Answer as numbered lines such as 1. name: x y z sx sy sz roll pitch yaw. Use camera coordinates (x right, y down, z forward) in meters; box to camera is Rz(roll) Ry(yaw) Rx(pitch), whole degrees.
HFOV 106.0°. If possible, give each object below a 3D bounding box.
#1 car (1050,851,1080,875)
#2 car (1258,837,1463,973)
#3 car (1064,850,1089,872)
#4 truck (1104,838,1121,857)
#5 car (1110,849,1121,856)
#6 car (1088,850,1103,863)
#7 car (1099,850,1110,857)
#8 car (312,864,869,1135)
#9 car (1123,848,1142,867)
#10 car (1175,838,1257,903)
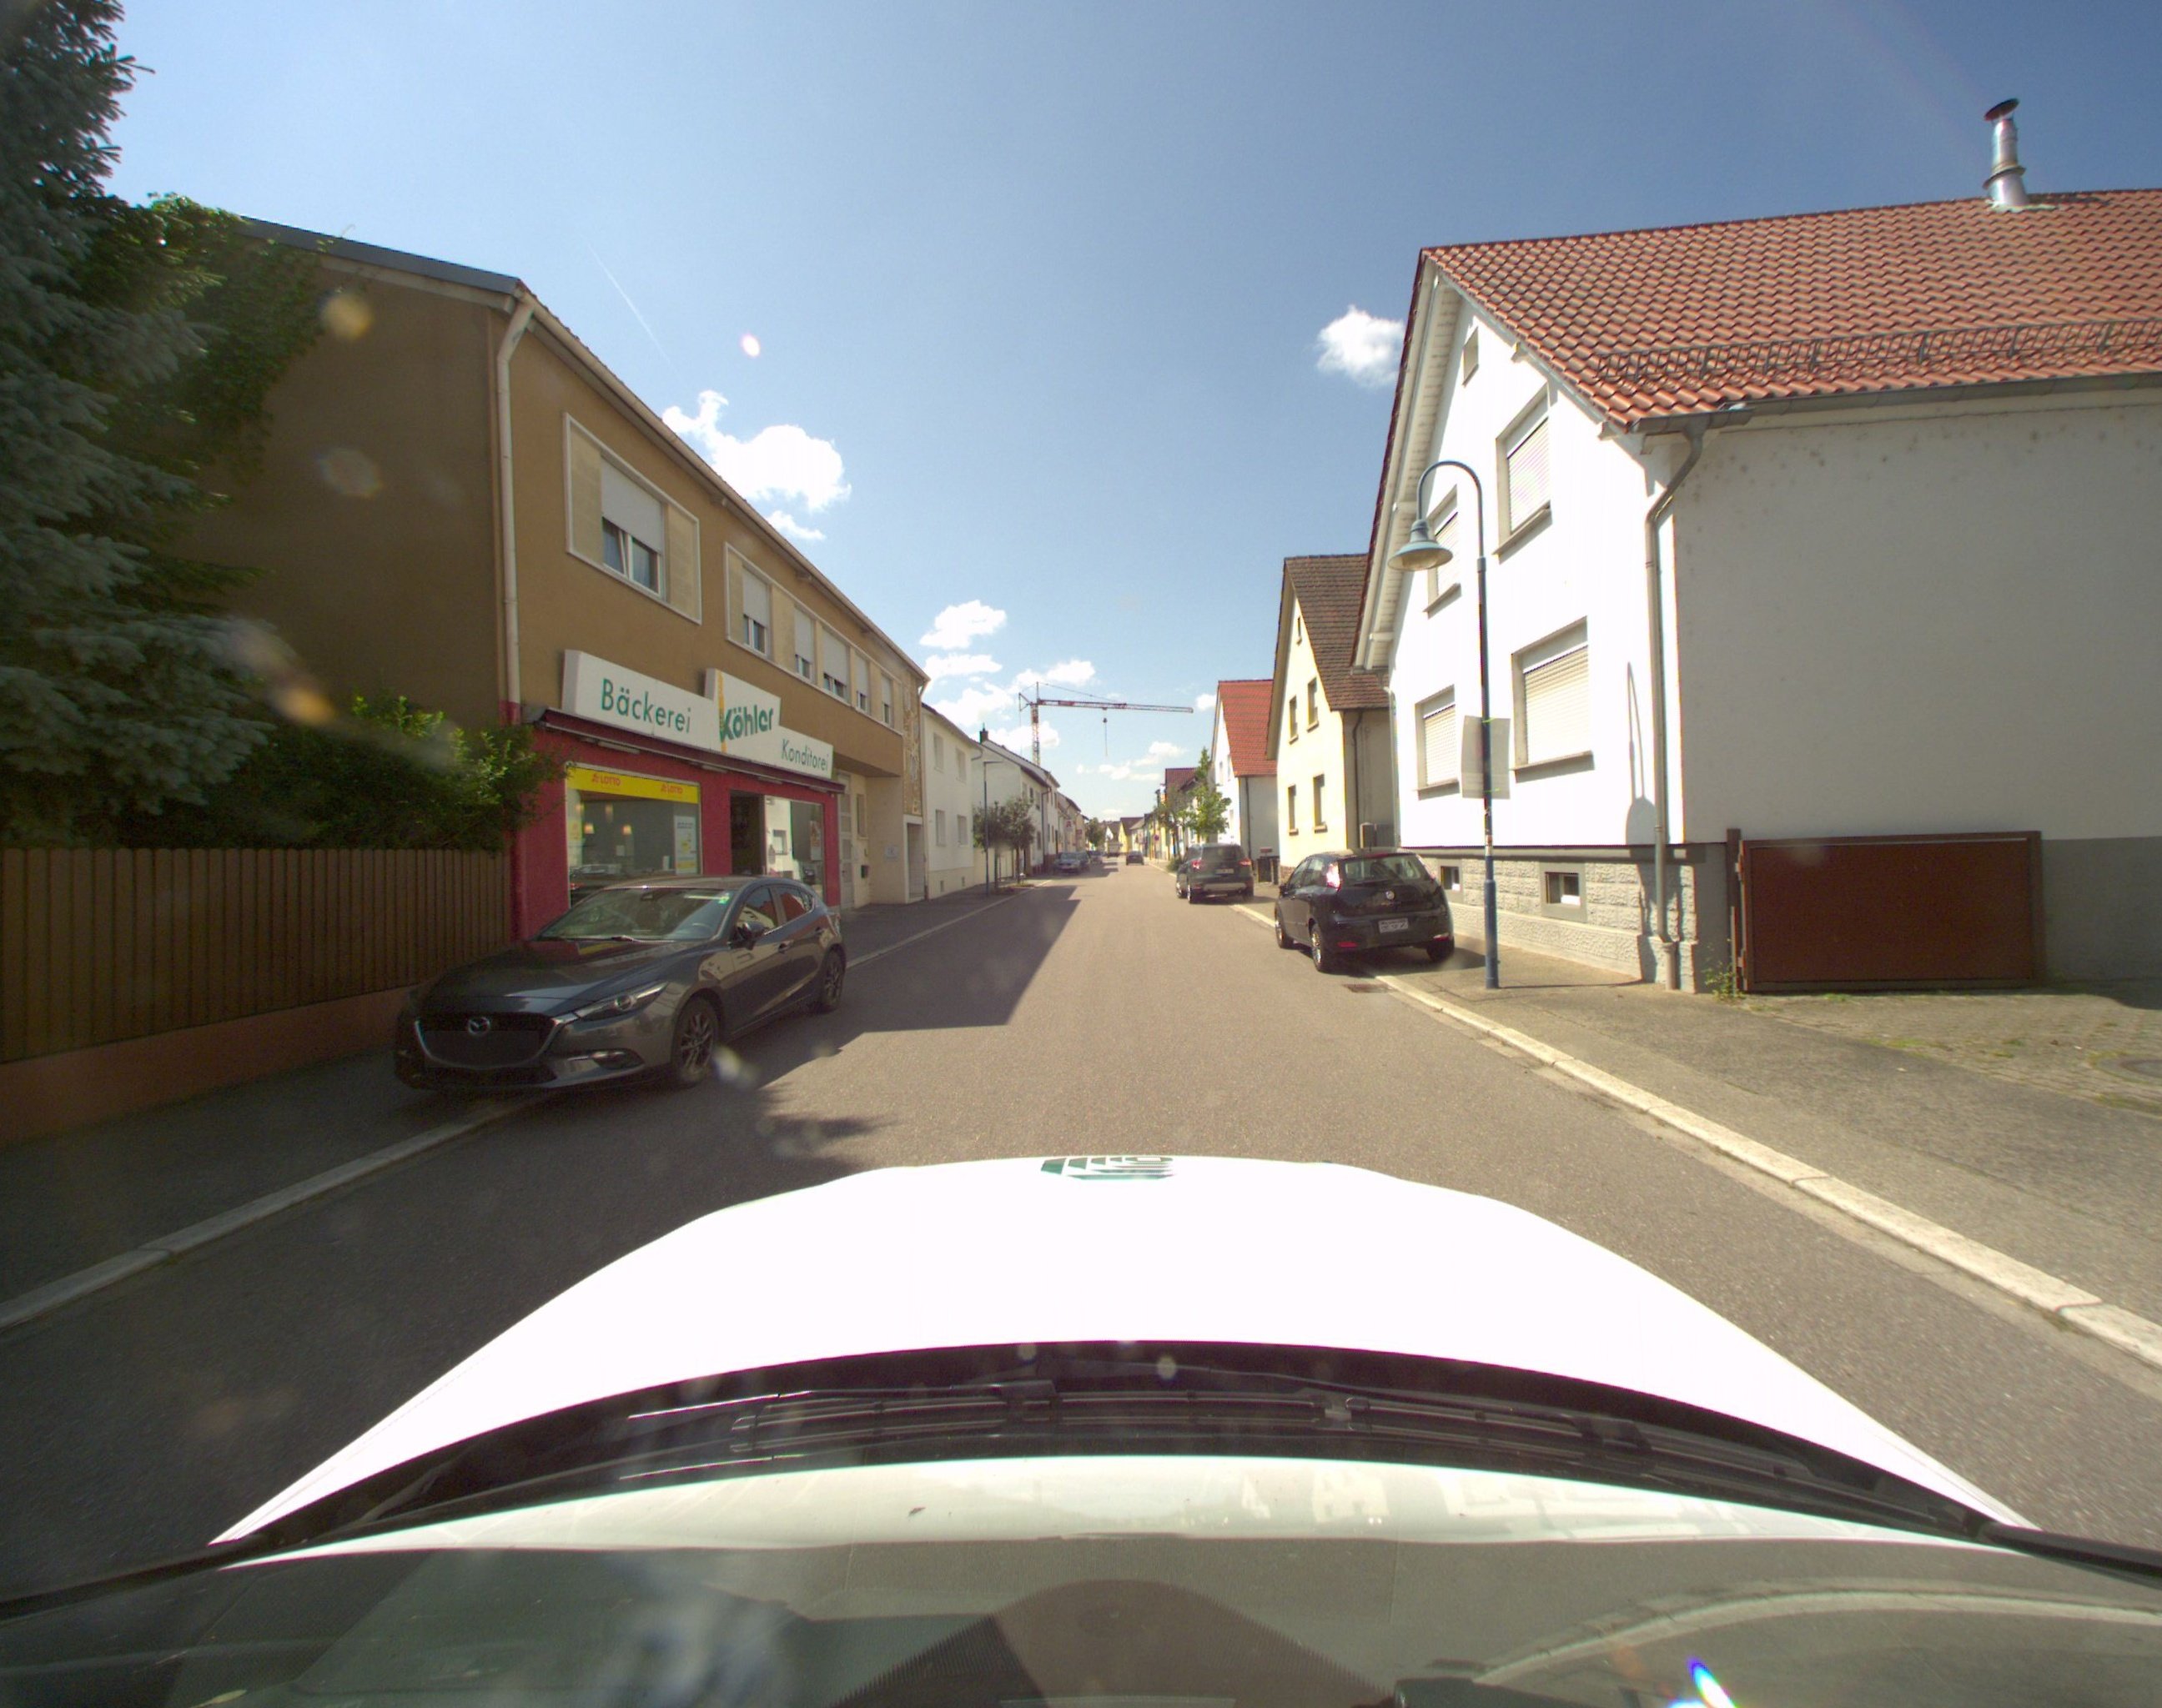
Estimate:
1. car: -1.094 0.562 56.321 1.752 1.525 4.291 -2 0 2
2. car: 3.742 0.592 11.626 1.611 1.495 3.974 -5 0 2
3. car: -0.335 0.514 62.825 1.647 1.609 4.063 -2 0 2
4. truck: 6.932 -1.451 181.361 3.367 3.865 13.929 -3 0 1
5. car: 8.795 -0.366 209.290 1.785 1.753 4.208 -3 0 -14
6. car: 1.878 0.296 101.984 1.716 1.555 4.176 -1 0 3
7. car: 6.322 -0.095 218.758 1.823 1.753 4.209 -3 0 -13
8. car: -3.442 0.879 6.940 1.760 1.460 4.442 -2 0 4
9. car: 5.307 0.348 83.820 1.776 1.753 4.002 -3 0 2
10. car: 3.905 0.430 24.243 1.723 1.717 4.276 -2 0 1
